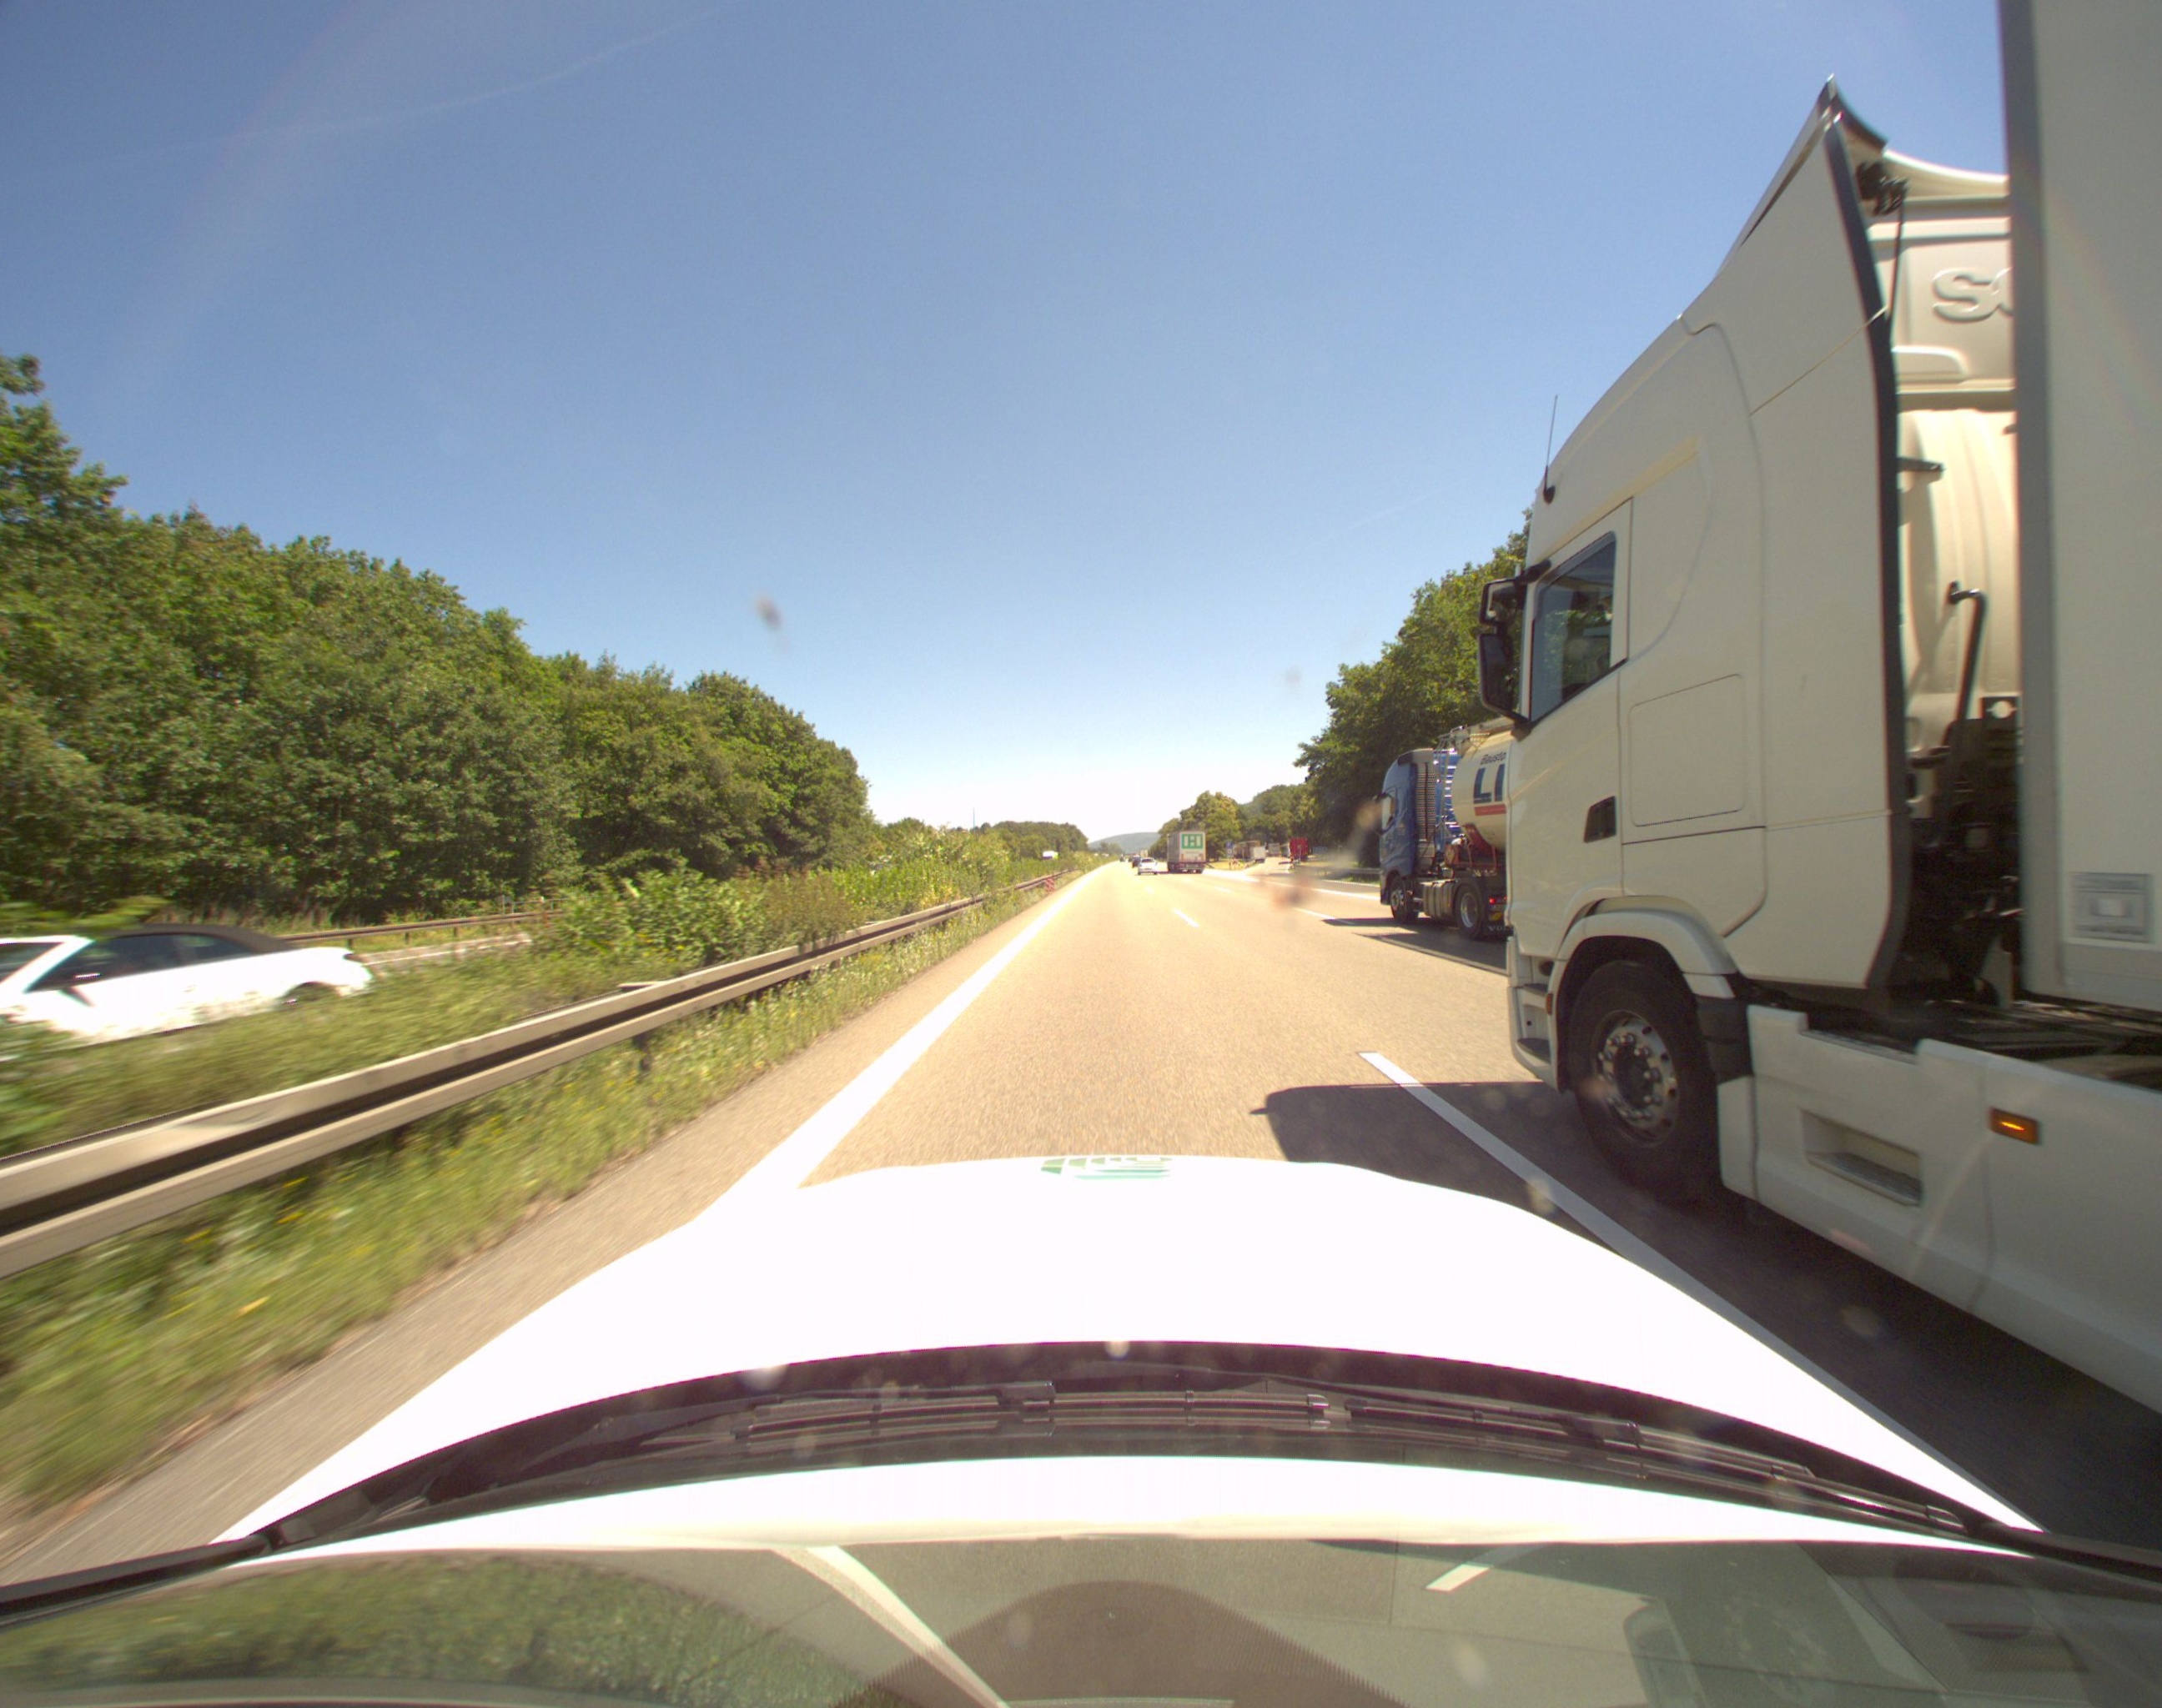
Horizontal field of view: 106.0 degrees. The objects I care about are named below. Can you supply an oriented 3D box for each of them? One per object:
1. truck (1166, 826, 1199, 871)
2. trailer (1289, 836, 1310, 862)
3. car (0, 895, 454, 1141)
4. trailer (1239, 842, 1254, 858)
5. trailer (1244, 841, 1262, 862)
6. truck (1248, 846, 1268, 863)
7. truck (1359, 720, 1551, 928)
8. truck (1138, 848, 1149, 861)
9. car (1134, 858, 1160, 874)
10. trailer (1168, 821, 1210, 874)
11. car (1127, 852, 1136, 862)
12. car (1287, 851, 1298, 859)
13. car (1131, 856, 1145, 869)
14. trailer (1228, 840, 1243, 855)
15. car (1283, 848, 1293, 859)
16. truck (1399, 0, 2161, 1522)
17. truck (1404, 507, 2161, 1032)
[{"bbox_3d":[10.906,-0.553,87.779,3.168,4.607,5.954,-1,-1,4],"label":"truck"},{"bbox_3d":[35.303,-0.747,131.647,2.957,3.878,12.940,-2,0,15],"label":"trailer"},{"bbox_3d":[-8.729,1.420,8.047,1.679,1.627,4.002,-8,0,2],"label":"car"},{"bbox_3d":[40.251,-0.907,198.690,3.083,3.790,13.399,-1,0,10],"label":"trailer"},{"bbox_3d":[34.052,-0.494,161.106,3.163,3.935,11.588,-1,0,12],"label":"trailer"},{"bbox_3d":[31.299,0.123,143.987,2.456,2.946,7.670,-1,0,5],"label":"truck"},{"bbox_3d":[8.019,-0.577,18.005,2.439,4.038,4.074,-1,-1,2],"label":"truck"},{"bbox_3d":[19.566,0.116,253.918,3.311,3.756,12.808,-1,0,4],"label":"truck"},{"bbox_3d":[5.928,1.061,73.341,1.807,1.405,3.313,-2,0,-3],"label":"car"},{"bbox_3d":[10.302,-0.570,79.164,3.168,4.627,12.062,-2,0,4],"label":"trailer"},{"bbox_3d":[11.488,0.688,186.737,1.875,2.013,4.001,-2,0,1],"label":"car"},{"bbox_3d":[41.906,0.163,161.451,1.980,1.451,5.051,-2,0,13],"label":"car"},{"bbox_3d":[8.478,1.274,120.892,1.887,1.892,4.007,-3,-1,6],"label":"car"},{"bbox_3d":[41.473,-1.690,218.799,3.118,3.952,14.225,-2,0,7],"label":"trailer"},{"bbox_3d":[46.216,-0.084,181.969,1.980,2.439,4.795,-2,0,12],"label":"car"},{"bbox_3d":[3.831,-0.739,3.371,3.217,4.157,4.560,-2,0,1],"label":"truck"},{"bbox_3d":[7.706,-0.622,11.599,2.433,4.044,10.548,-1,0,3],"label":"truck"}]
